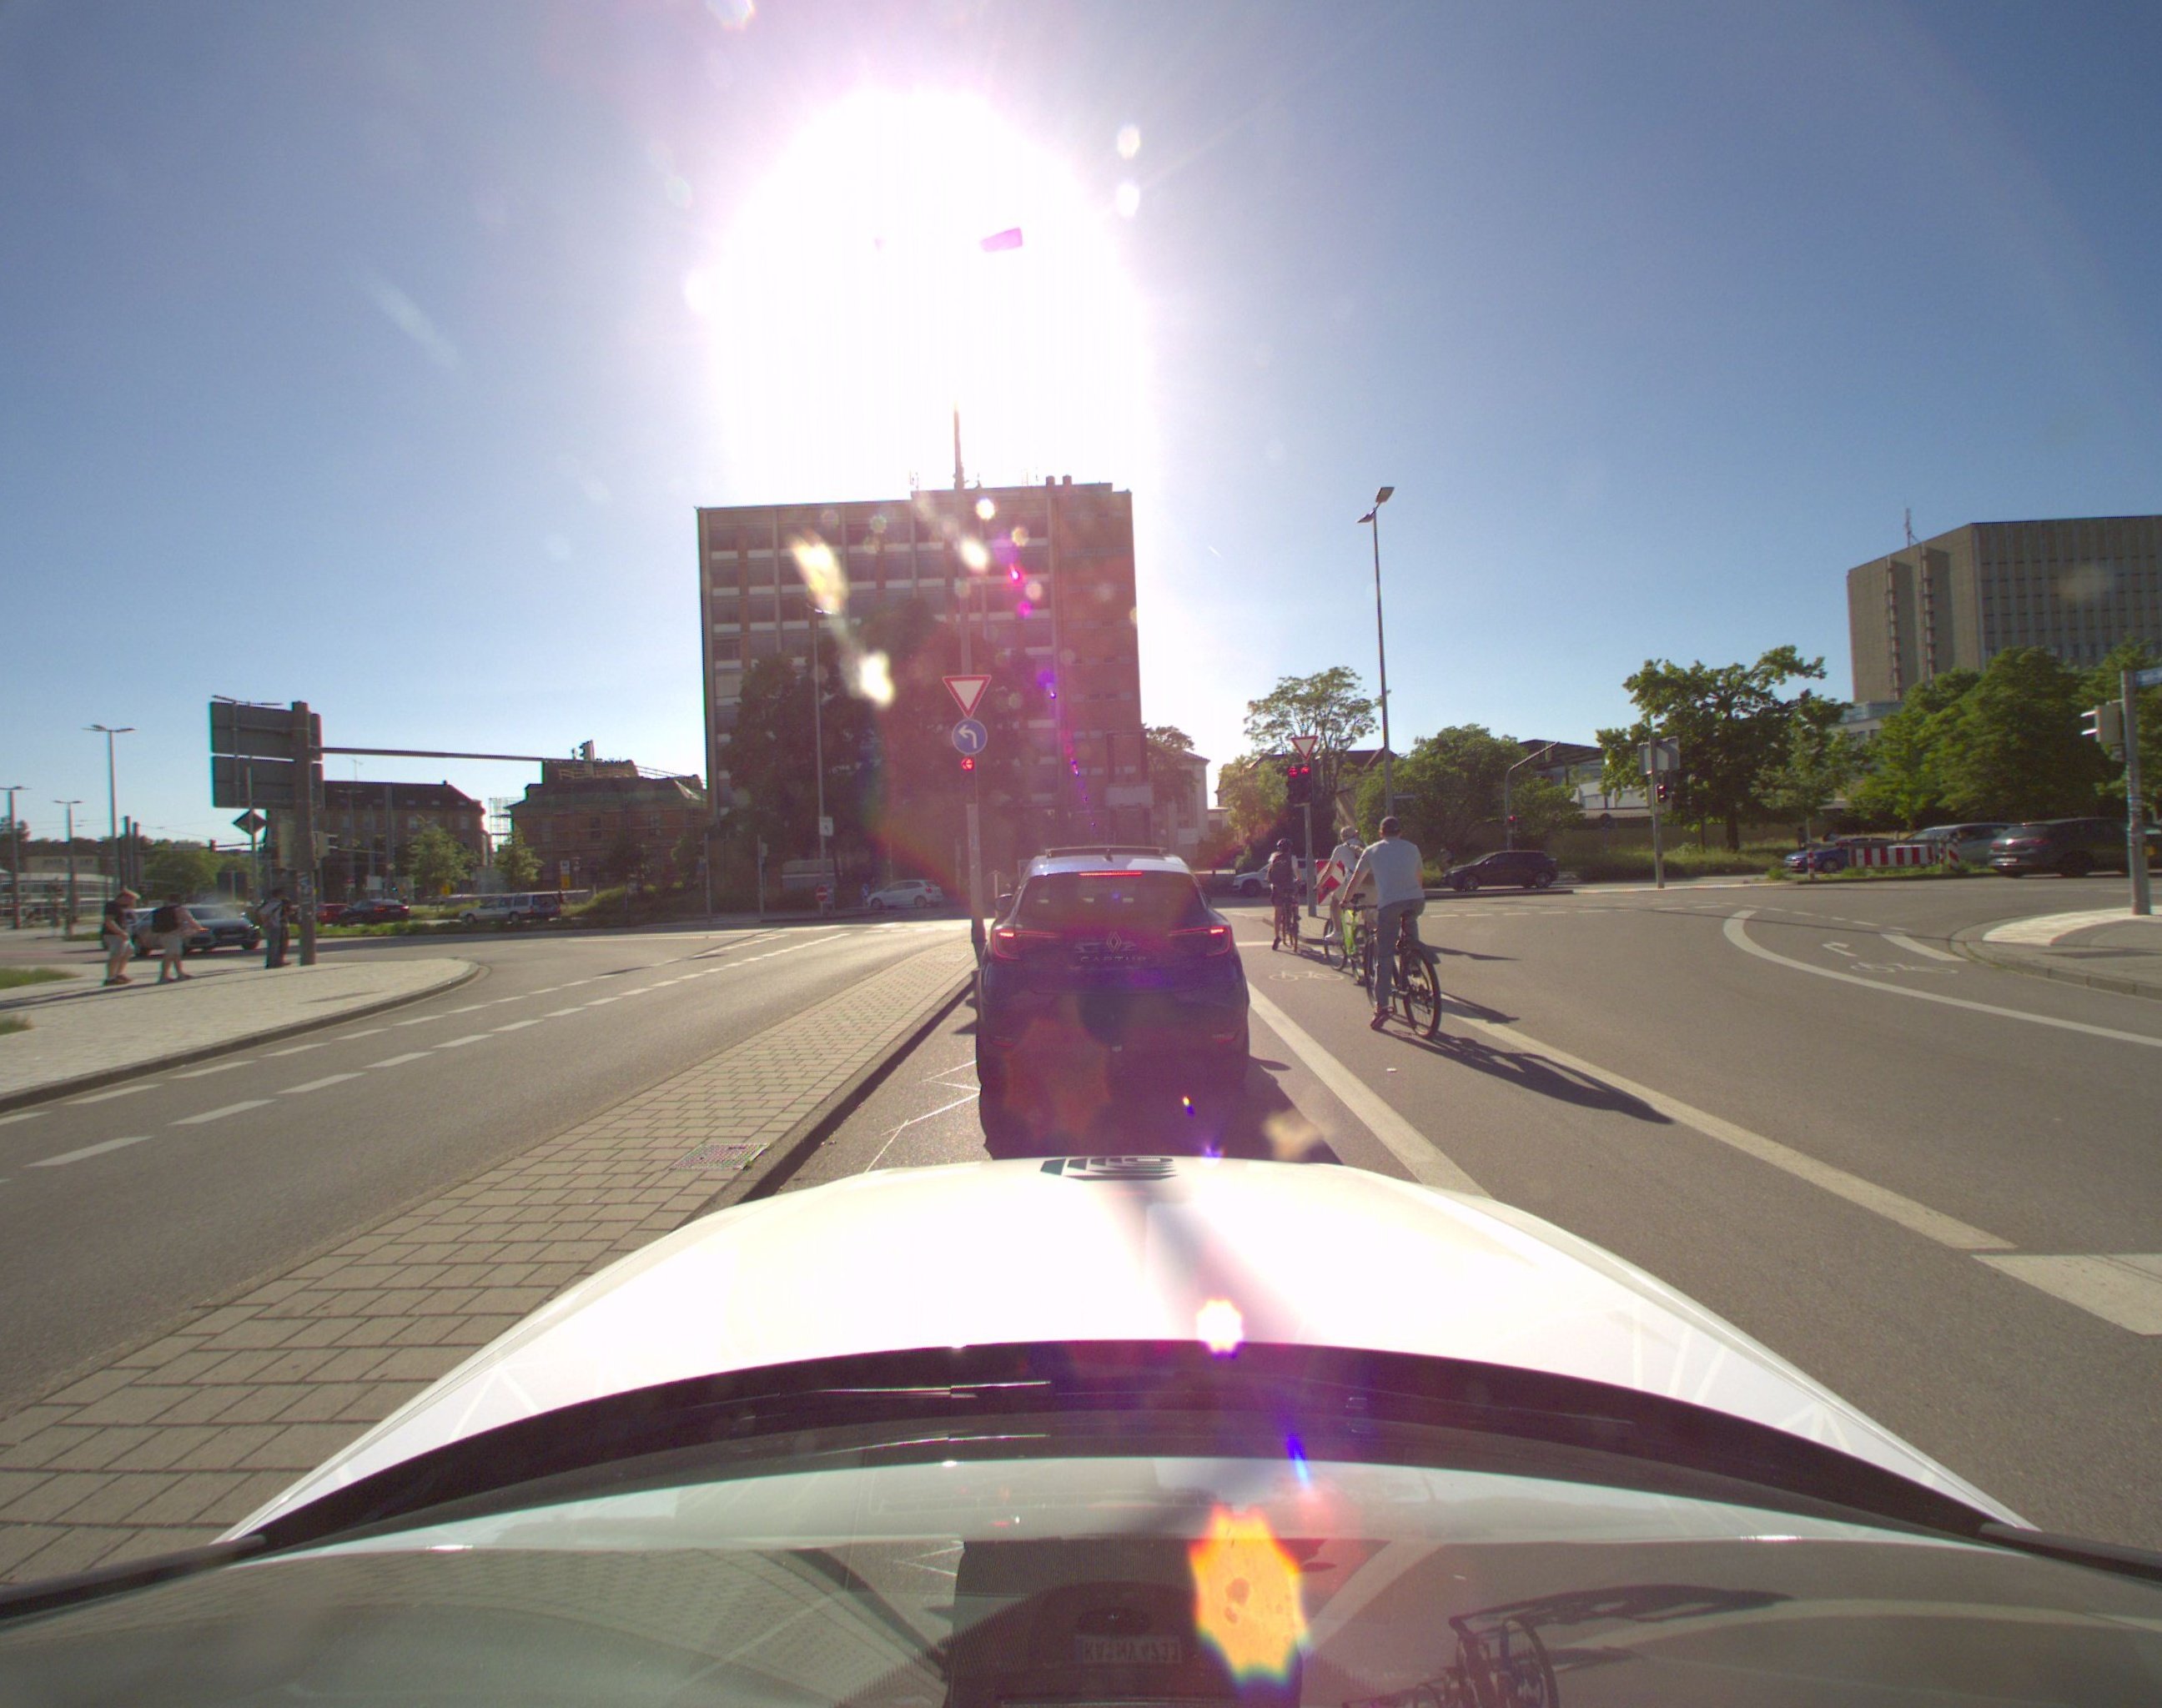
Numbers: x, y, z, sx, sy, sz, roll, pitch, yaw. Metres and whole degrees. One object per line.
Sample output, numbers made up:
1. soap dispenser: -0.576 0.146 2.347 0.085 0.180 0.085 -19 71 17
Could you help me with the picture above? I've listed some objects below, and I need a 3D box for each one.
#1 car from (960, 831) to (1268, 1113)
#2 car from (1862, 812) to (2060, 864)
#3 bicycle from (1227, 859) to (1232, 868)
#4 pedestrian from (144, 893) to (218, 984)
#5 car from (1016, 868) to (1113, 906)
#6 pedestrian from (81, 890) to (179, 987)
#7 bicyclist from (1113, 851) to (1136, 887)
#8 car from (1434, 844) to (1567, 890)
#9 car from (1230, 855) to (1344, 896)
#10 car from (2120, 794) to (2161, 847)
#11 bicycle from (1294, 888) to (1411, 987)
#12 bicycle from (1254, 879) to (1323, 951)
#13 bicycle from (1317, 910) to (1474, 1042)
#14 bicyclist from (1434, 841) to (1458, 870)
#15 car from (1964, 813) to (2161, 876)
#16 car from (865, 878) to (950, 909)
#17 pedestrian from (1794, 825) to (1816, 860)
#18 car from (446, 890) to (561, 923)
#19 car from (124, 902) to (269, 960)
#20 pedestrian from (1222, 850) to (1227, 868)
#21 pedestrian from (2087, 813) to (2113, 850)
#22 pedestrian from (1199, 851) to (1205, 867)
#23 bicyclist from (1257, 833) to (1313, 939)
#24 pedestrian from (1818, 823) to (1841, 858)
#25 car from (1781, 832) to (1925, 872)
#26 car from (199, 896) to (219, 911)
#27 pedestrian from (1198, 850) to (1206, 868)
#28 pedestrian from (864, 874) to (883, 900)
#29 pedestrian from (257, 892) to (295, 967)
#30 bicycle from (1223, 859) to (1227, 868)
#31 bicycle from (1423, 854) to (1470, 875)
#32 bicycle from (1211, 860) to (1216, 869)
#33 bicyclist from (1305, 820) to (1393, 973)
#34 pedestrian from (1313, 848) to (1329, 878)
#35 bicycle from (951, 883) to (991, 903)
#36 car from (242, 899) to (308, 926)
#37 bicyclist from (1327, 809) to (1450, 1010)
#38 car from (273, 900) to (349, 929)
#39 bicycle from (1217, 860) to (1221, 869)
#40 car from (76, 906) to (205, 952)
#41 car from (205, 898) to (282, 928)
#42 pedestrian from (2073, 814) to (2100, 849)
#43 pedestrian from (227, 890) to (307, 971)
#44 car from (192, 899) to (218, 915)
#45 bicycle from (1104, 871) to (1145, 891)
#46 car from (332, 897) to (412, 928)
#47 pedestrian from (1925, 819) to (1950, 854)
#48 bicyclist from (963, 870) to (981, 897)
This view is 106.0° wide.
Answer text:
1. car: 0.204 0.705 6.805 1.798 1.632 3.999 -1 0 0
2. car: 28.135 -0.490 26.172 4.025 1.408 1.872 -2 -1 8
3. bicycle: 17.186 1.071 94.176 0.403 0.973 1.686 0 -1 6
4. pedestrian: -17.828 1.664 16.135 0.785 1.690 0.794 -6 -3 29
5. car: -0.679 1.407 34.930 3.812 1.435 1.748 -2 -1 10
6. pedestrian: -18.858 1.660 16.156 0.696 1.800 1.110 -6 -3 28
7. bicyclist: 2.359 0.823 44.097 1.094 1.867 0.655 -3 -1 12
8. car: 16.620 0.522 32.453 4.344 1.632 1.850 -2 -1 11
9. car: 9.257 0.957 36.879 4.792 1.632 1.850 -2 -1 11
10. car: 45.833 -1.382 32.935 4.857 2.107 2.002 0 -1 3
11. bicycle: 3.215 0.951 9.855 0.657 1.003 1.967 0 -1 -4
12. bicycle: 3.248 0.924 12.937 0.735 0.995 2.177 0 -1 6
13. bicycle: 2.721 1.015 7.299 0.737 0.896 1.980 0 -1 3
14. bicyclist: 18.621 0.082 41.547 0.931 1.429 0.600 -3 -1 10
15. car: 25.300 -0.215 20.348 4.031 1.389 1.849 -2 -3 11
16. car: -8.838 1.994 41.471 3.808 1.435 1.750 -2 -2 15
17. pedestrian: 35.823 -0.578 40.300 0.559 1.695 0.528 -3 -1 5
18. car: -28.472 2.599 40.174 4.848 1.388 1.851 -3 -1 14
19. car: -29.348 2.547 27.012 4.206 1.581 1.803 -4 0 22
20. pedestrian: 16.212 0.600 92.186 0.473 2.014 0.469 -2 -1 8
21. pedestrian: 49.034 -1.074 39.191 0.559 1.778 0.528 -2 0 5
22. pedestrian: 13.613 0.565 91.622 0.609 1.856 0.468 -2 -1 7
23. bicyclist: 3.239 0.497 12.990 0.722 1.629 0.970 0 -1 6
24. pedestrian: 37.572 -0.680 40.891 0.559 1.695 0.528 -3 -1 5
25. car: 31.848 -0.064 33.679 4.146 1.435 1.745 -2 -1 4
26. car: -130.926 7.425 122.227 3.949 2.013 2.012 -3 -1 43
27. pedestrian: 13.203 0.545 88.795 0.625 1.856 0.560 -2 -1 -16
28. pedestrian: -12.957 2.062 50.952 0.853 1.571 0.562 -6 -1 16
29. pedestrian: -19.208 1.778 19.446 0.600 1.729 0.572 -2 -1 -45
30. bicycle: 16.651 1.075 94.176 0.403 0.973 1.686 0 -1 6
31. bicycle: 18.630 0.546 41.561 2.063 0.964 0.600 -3 -1 10
32. bicycle: 15.255 1.227 93.884 0.403 0.973 1.686 0 -1 6
33. bicyclist: 3.215 0.491 9.853 0.644 1.739 1.065 0 -1 -4
34. pedestrian: 13.138 0.499 44.600 0.732 1.603 0.601 -3 -1 14
35. bicycle: -5.928 2.109 44.029 2.016 0.964 0.593 -2 -1 -25
36. car: -53.816 3.918 54.376 4.331 1.632 1.855 -3 -1 27
37. bicyclist: 2.713 0.469 7.299 0.748 1.668 1.017 0 -1 3
38. car: -48.528 3.792 51.330 4.334 1.632 1.854 -2 0 23
39. bicycle: 15.873 1.222 93.826 0.403 0.973 1.686 0 -1 6
40. car: -39.847 3.171 34.514 4.649 1.619 1.852 -4 -3 17
41. car: -50.634 3.586 49.228 4.332 1.632 1.855 -3 -1 25
42. pedestrian: 49.263 -1.104 39.911 0.559 1.695 0.528 -3 -1 5
43. pedestrian: -18.226 1.697 18.261 0.900 1.690 0.839 -4 -3 -3
44. car: -120.112 7.310 111.665 3.948 2.013 2.013 -3 -1 38
45. bicycle: 2.346 1.476 44.077 2.067 0.930 0.698 -3 1 12
46. car: -42.580 3.509 48.902 4.334 1.632 1.854 -3 -1 23
47. pedestrian: 42.784 -0.879 40.685 0.559 1.695 0.528 -3 -1 5
48. bicyclist: -5.890 1.594 44.056 0.741 1.441 0.593 -2 -1 -25
